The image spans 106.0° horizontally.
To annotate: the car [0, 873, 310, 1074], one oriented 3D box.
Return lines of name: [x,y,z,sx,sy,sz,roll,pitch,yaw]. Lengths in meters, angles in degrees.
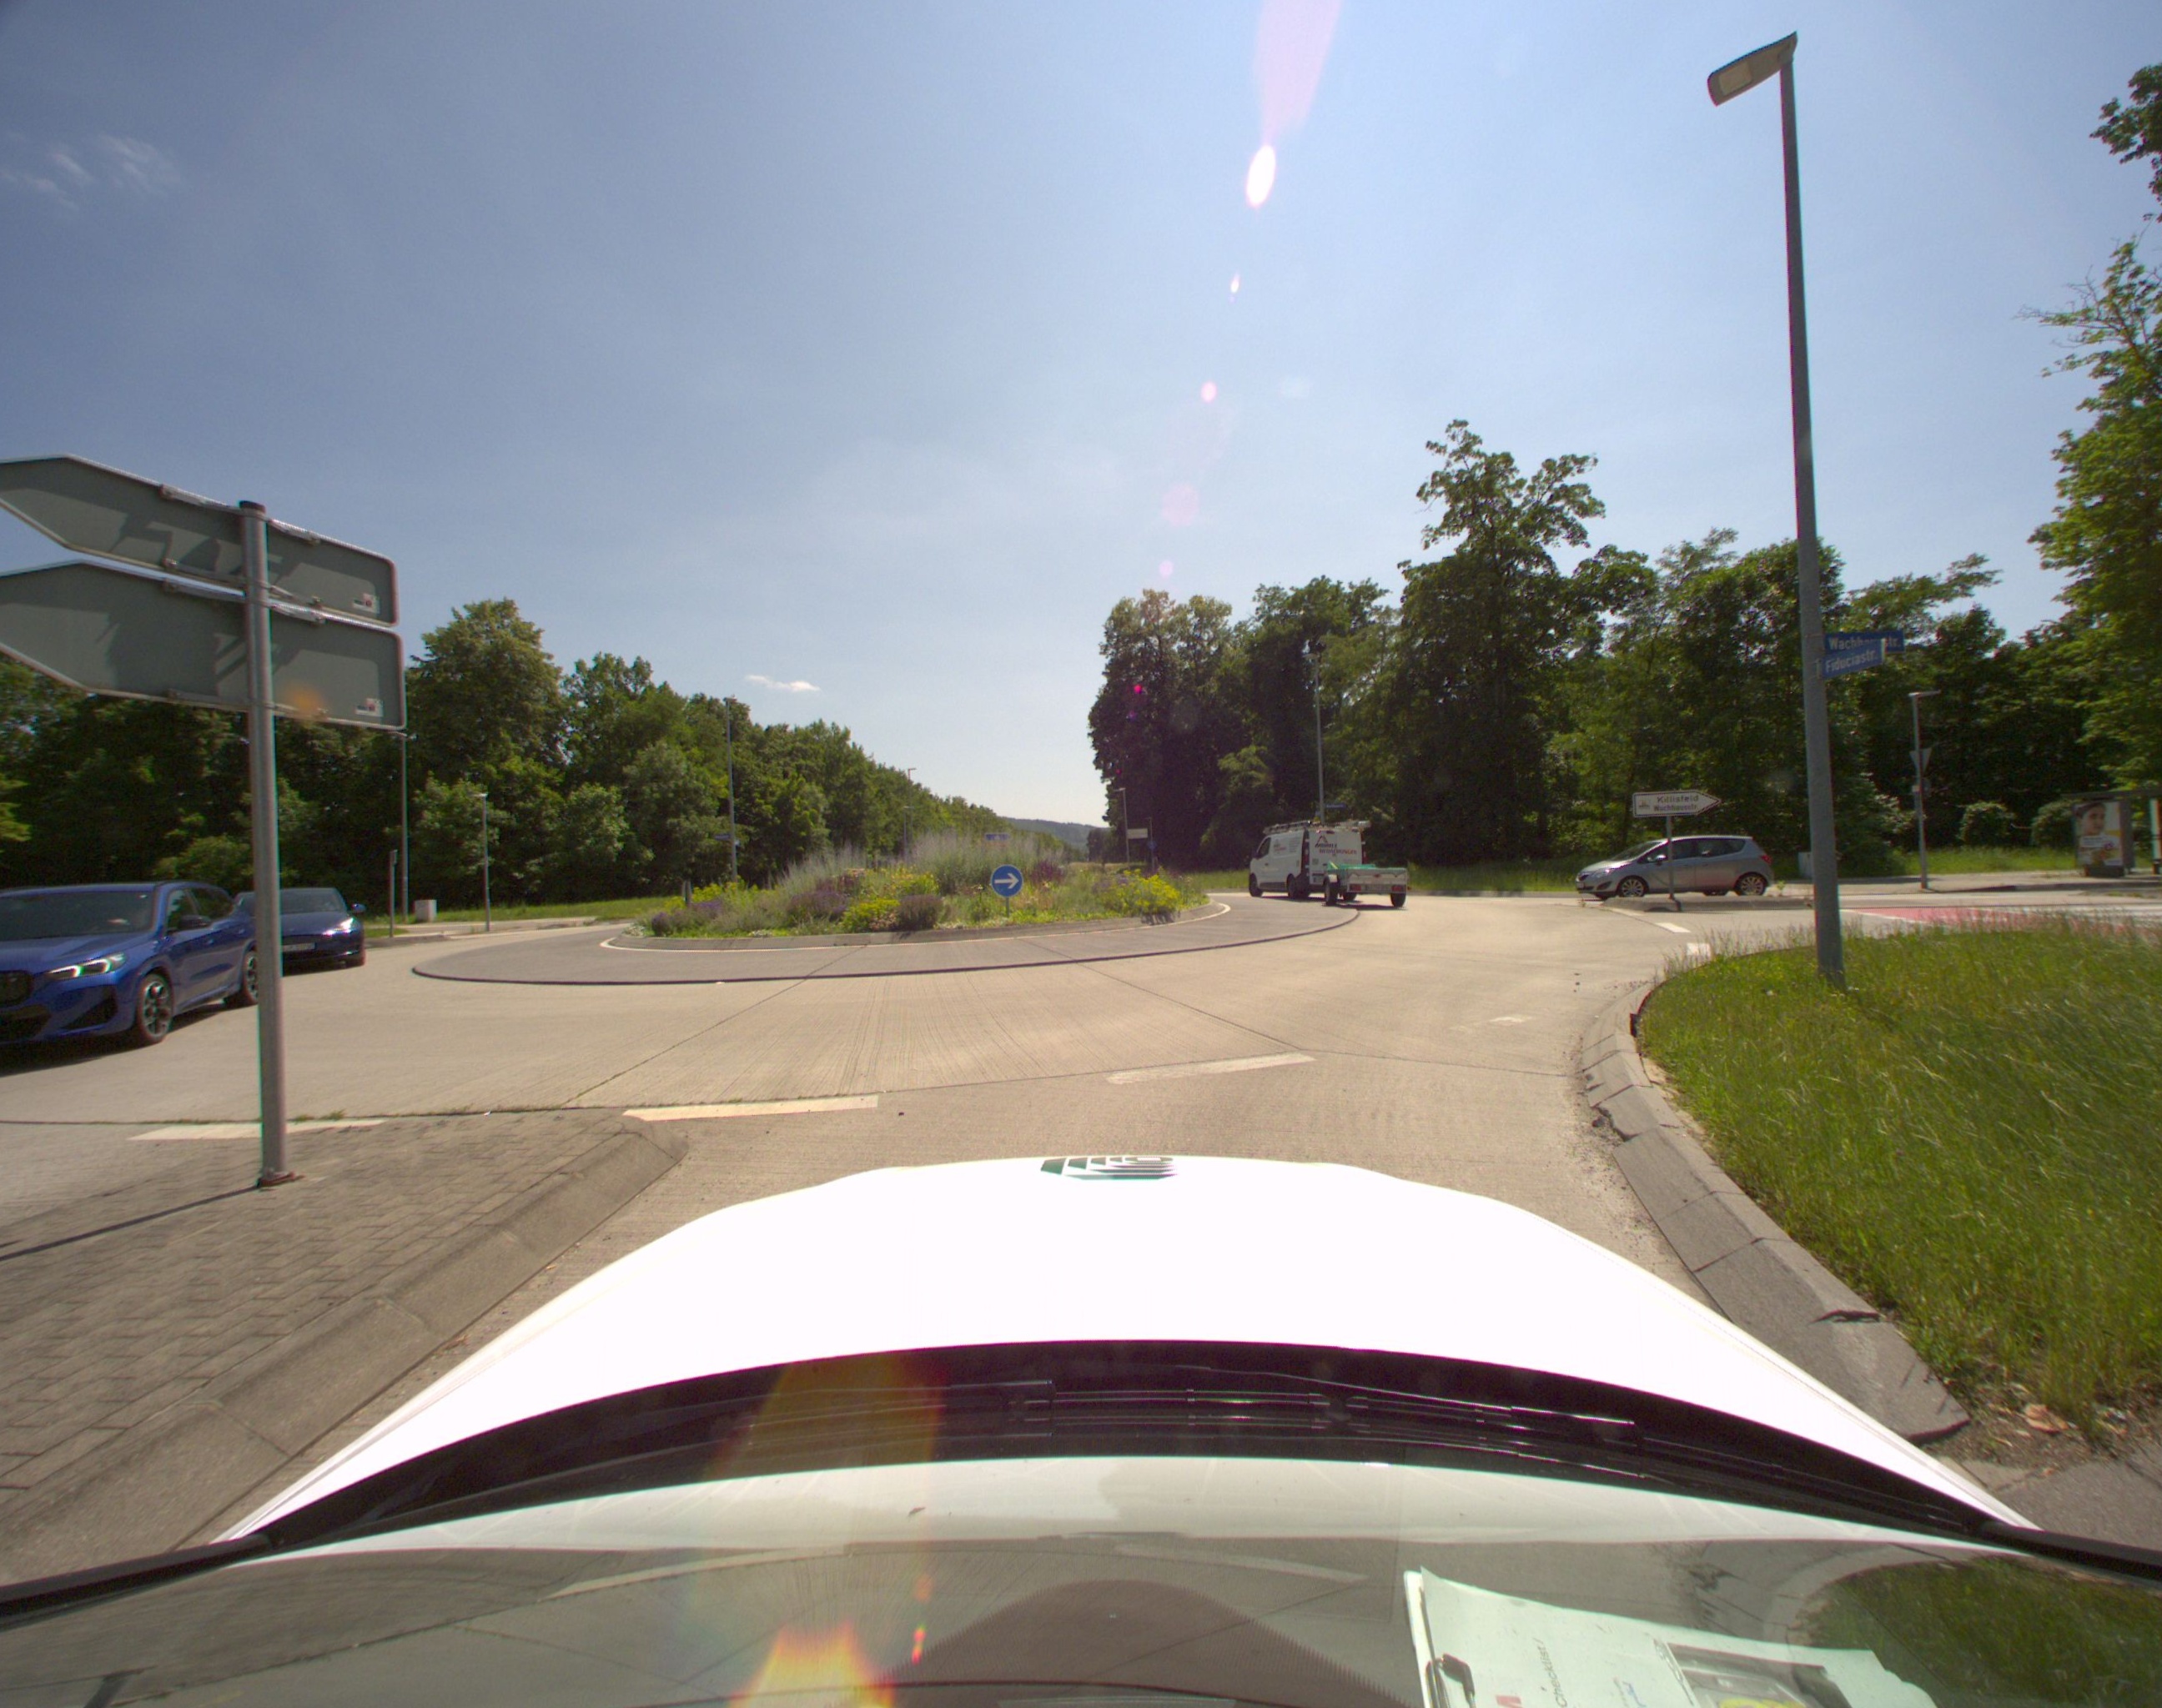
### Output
car: [-10.354,1.084,8.554,2.004,1.596,4.285,-3,1,-26]

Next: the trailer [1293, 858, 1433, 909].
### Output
trailer: [6.812,0.686,20.074,2.117,1.097,3.350,-1,-1,-4]

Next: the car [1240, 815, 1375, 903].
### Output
car: [6.548,0.166,24.252,2.163,2.316,4.970,-1,-1,-6]

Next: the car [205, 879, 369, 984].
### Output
car: [-15.295,1.378,15.902,2.011,1.640,4.700,-1,-1,-42]

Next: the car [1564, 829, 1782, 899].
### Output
car: [14.918,0.274,20.738,4.089,1.607,1.795,-2,-1,9]
